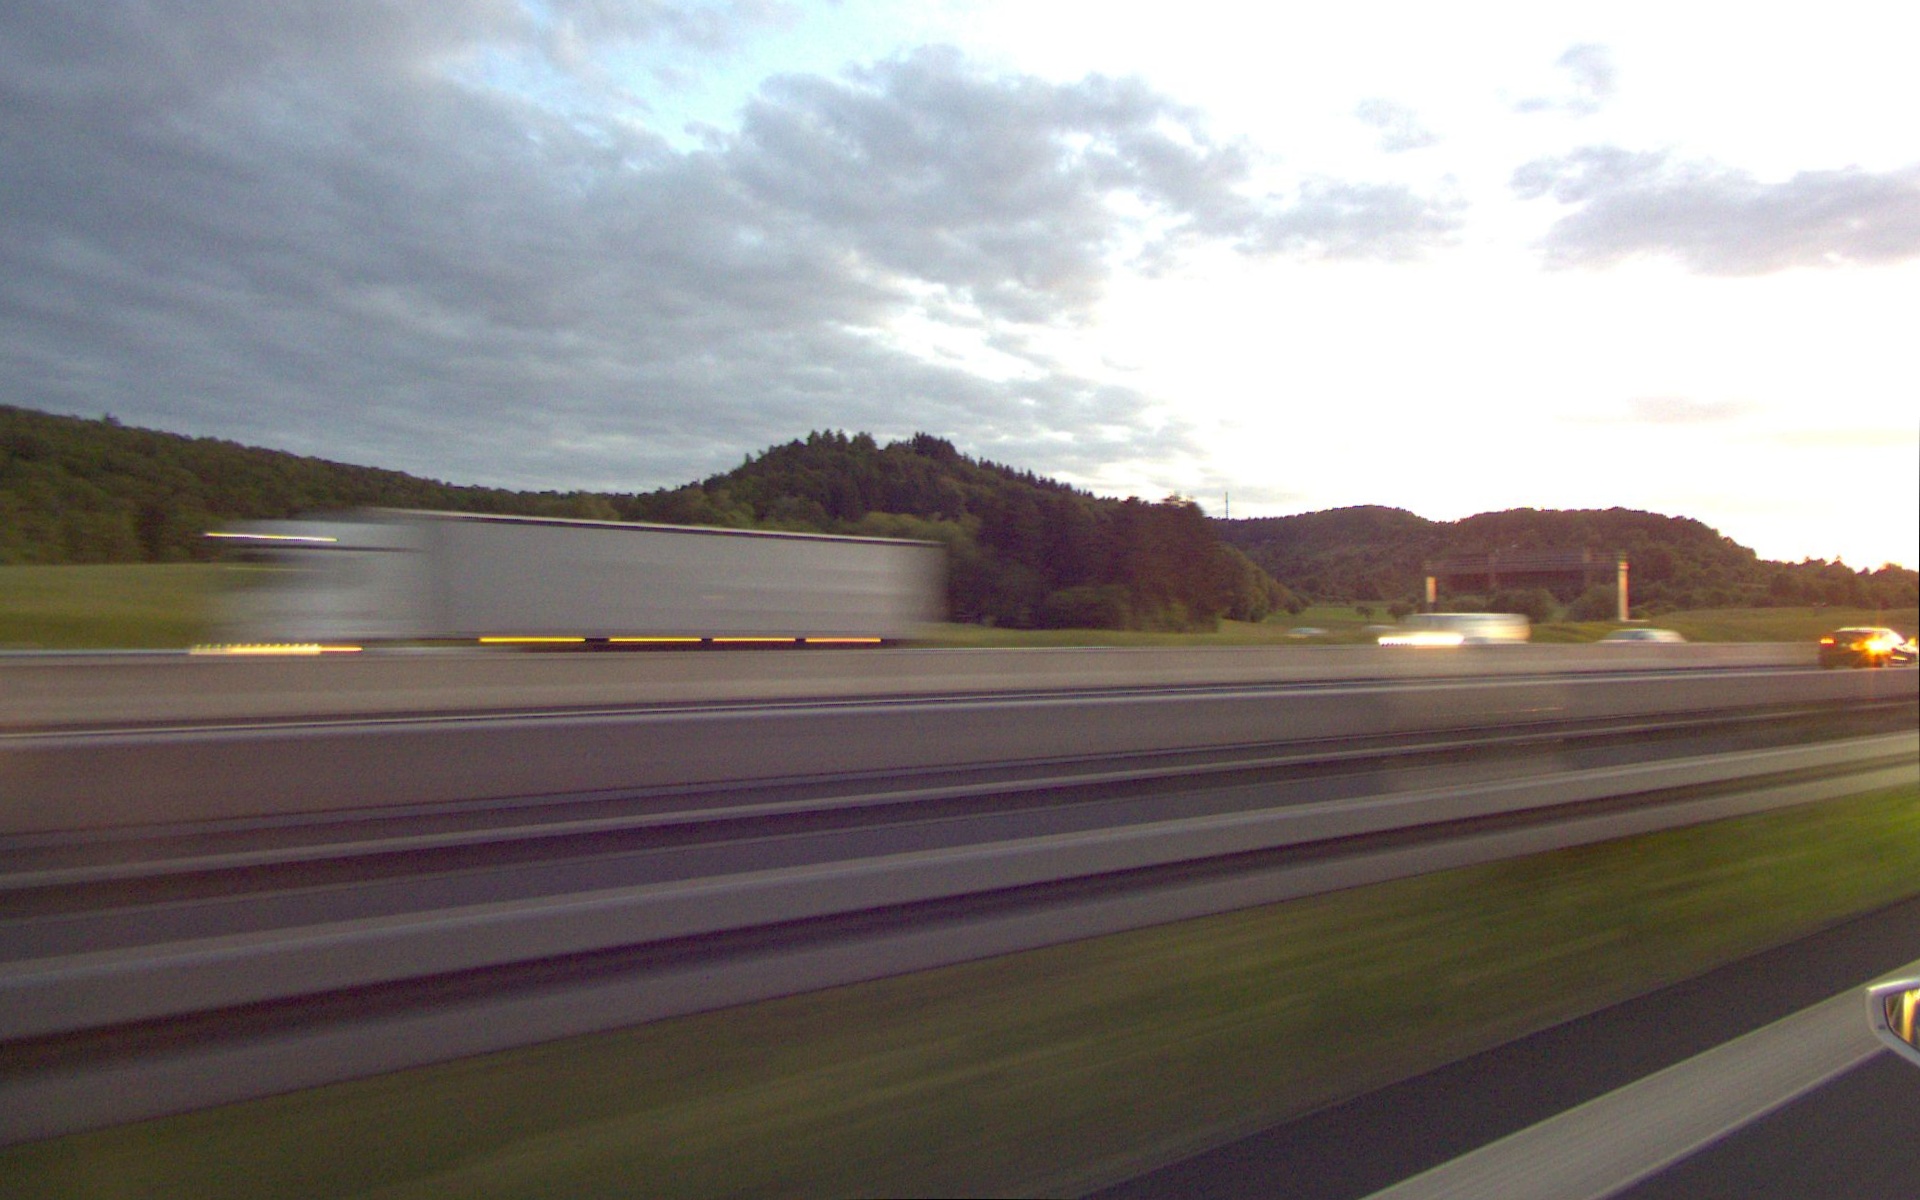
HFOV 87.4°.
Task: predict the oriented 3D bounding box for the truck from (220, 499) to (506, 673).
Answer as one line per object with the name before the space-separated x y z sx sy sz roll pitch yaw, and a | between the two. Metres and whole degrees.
truck | -14.015 -0.181 23.977 5.434 3.666 3.294 2 -2 -31

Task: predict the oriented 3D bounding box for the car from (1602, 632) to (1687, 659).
car | 32.734 2.180 48.019 4.163 1.266 1.744 2 -2 -30

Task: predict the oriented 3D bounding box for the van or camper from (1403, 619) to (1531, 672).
van or camper | 19.758 1.727 39.026 5.479 1.932 1.880 1 -1 -32

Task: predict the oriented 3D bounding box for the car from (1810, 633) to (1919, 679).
car | 33.077 2.004 36.592 4.467 1.582 1.863 2 -2 -30

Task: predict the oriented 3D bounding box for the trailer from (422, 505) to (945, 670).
trailer | -7.184 -0.054 28.108 13.726 3.814 3.311 2 -2 -31
